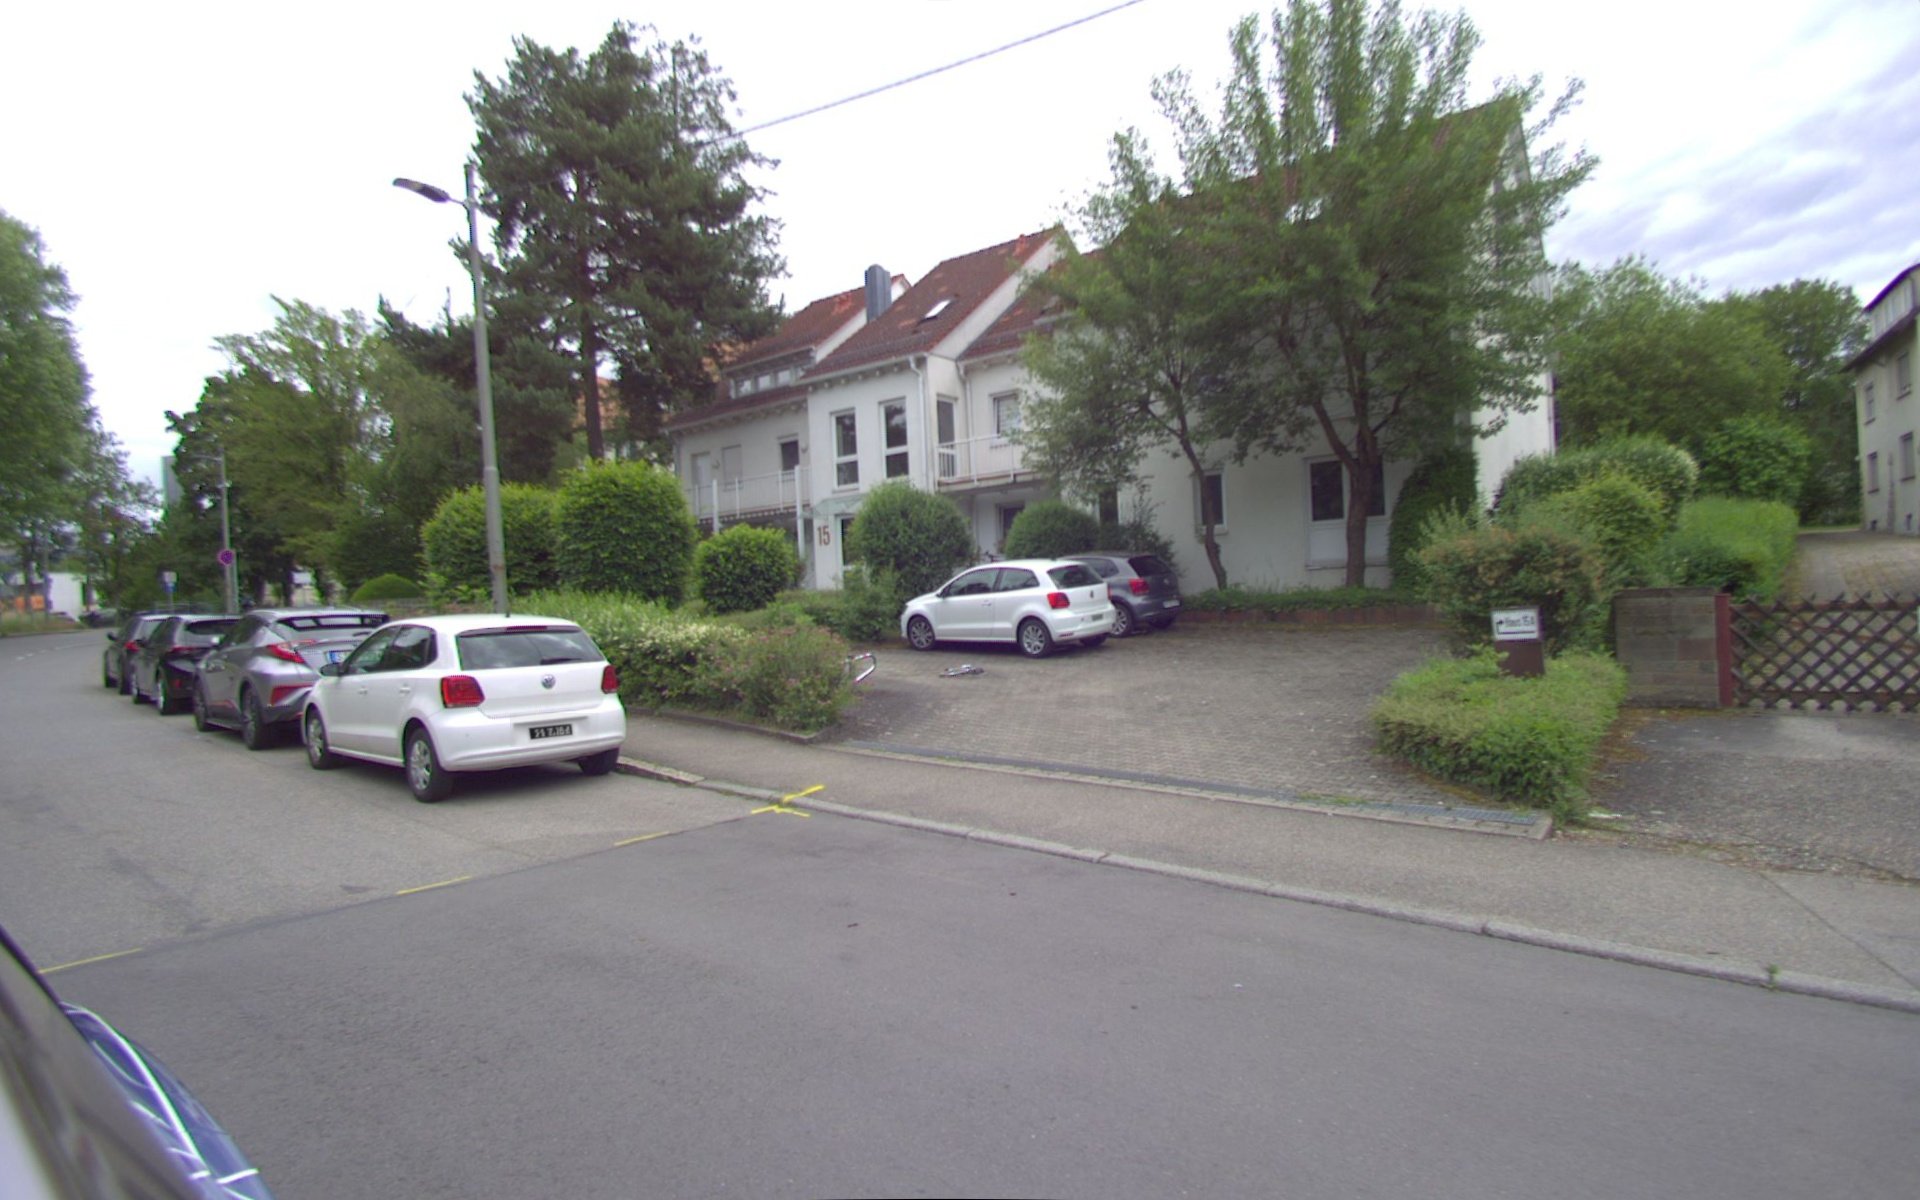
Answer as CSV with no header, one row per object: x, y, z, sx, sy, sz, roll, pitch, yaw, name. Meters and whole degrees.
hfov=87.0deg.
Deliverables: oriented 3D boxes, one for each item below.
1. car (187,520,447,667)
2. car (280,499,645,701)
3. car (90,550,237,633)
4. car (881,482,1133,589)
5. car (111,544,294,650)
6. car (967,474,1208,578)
-7.930,-0.096,12.325,4.128,1.491,1.742,1,1,44,car
-4.719,-0.024,9.362,3.926,1.491,1.606,0,1,41,car
-15.518,-0.167,19.631,1.715,1.429,4.506,-2,1,-45,car
0.689,-1.086,16.563,3.934,1.467,1.685,4,10,43,car
-12.090,-0.101,16.048,4.334,1.452,1.631,1,3,44,car
2.274,-1.324,18.563,3.998,1.585,1.803,-1,4,41,car
